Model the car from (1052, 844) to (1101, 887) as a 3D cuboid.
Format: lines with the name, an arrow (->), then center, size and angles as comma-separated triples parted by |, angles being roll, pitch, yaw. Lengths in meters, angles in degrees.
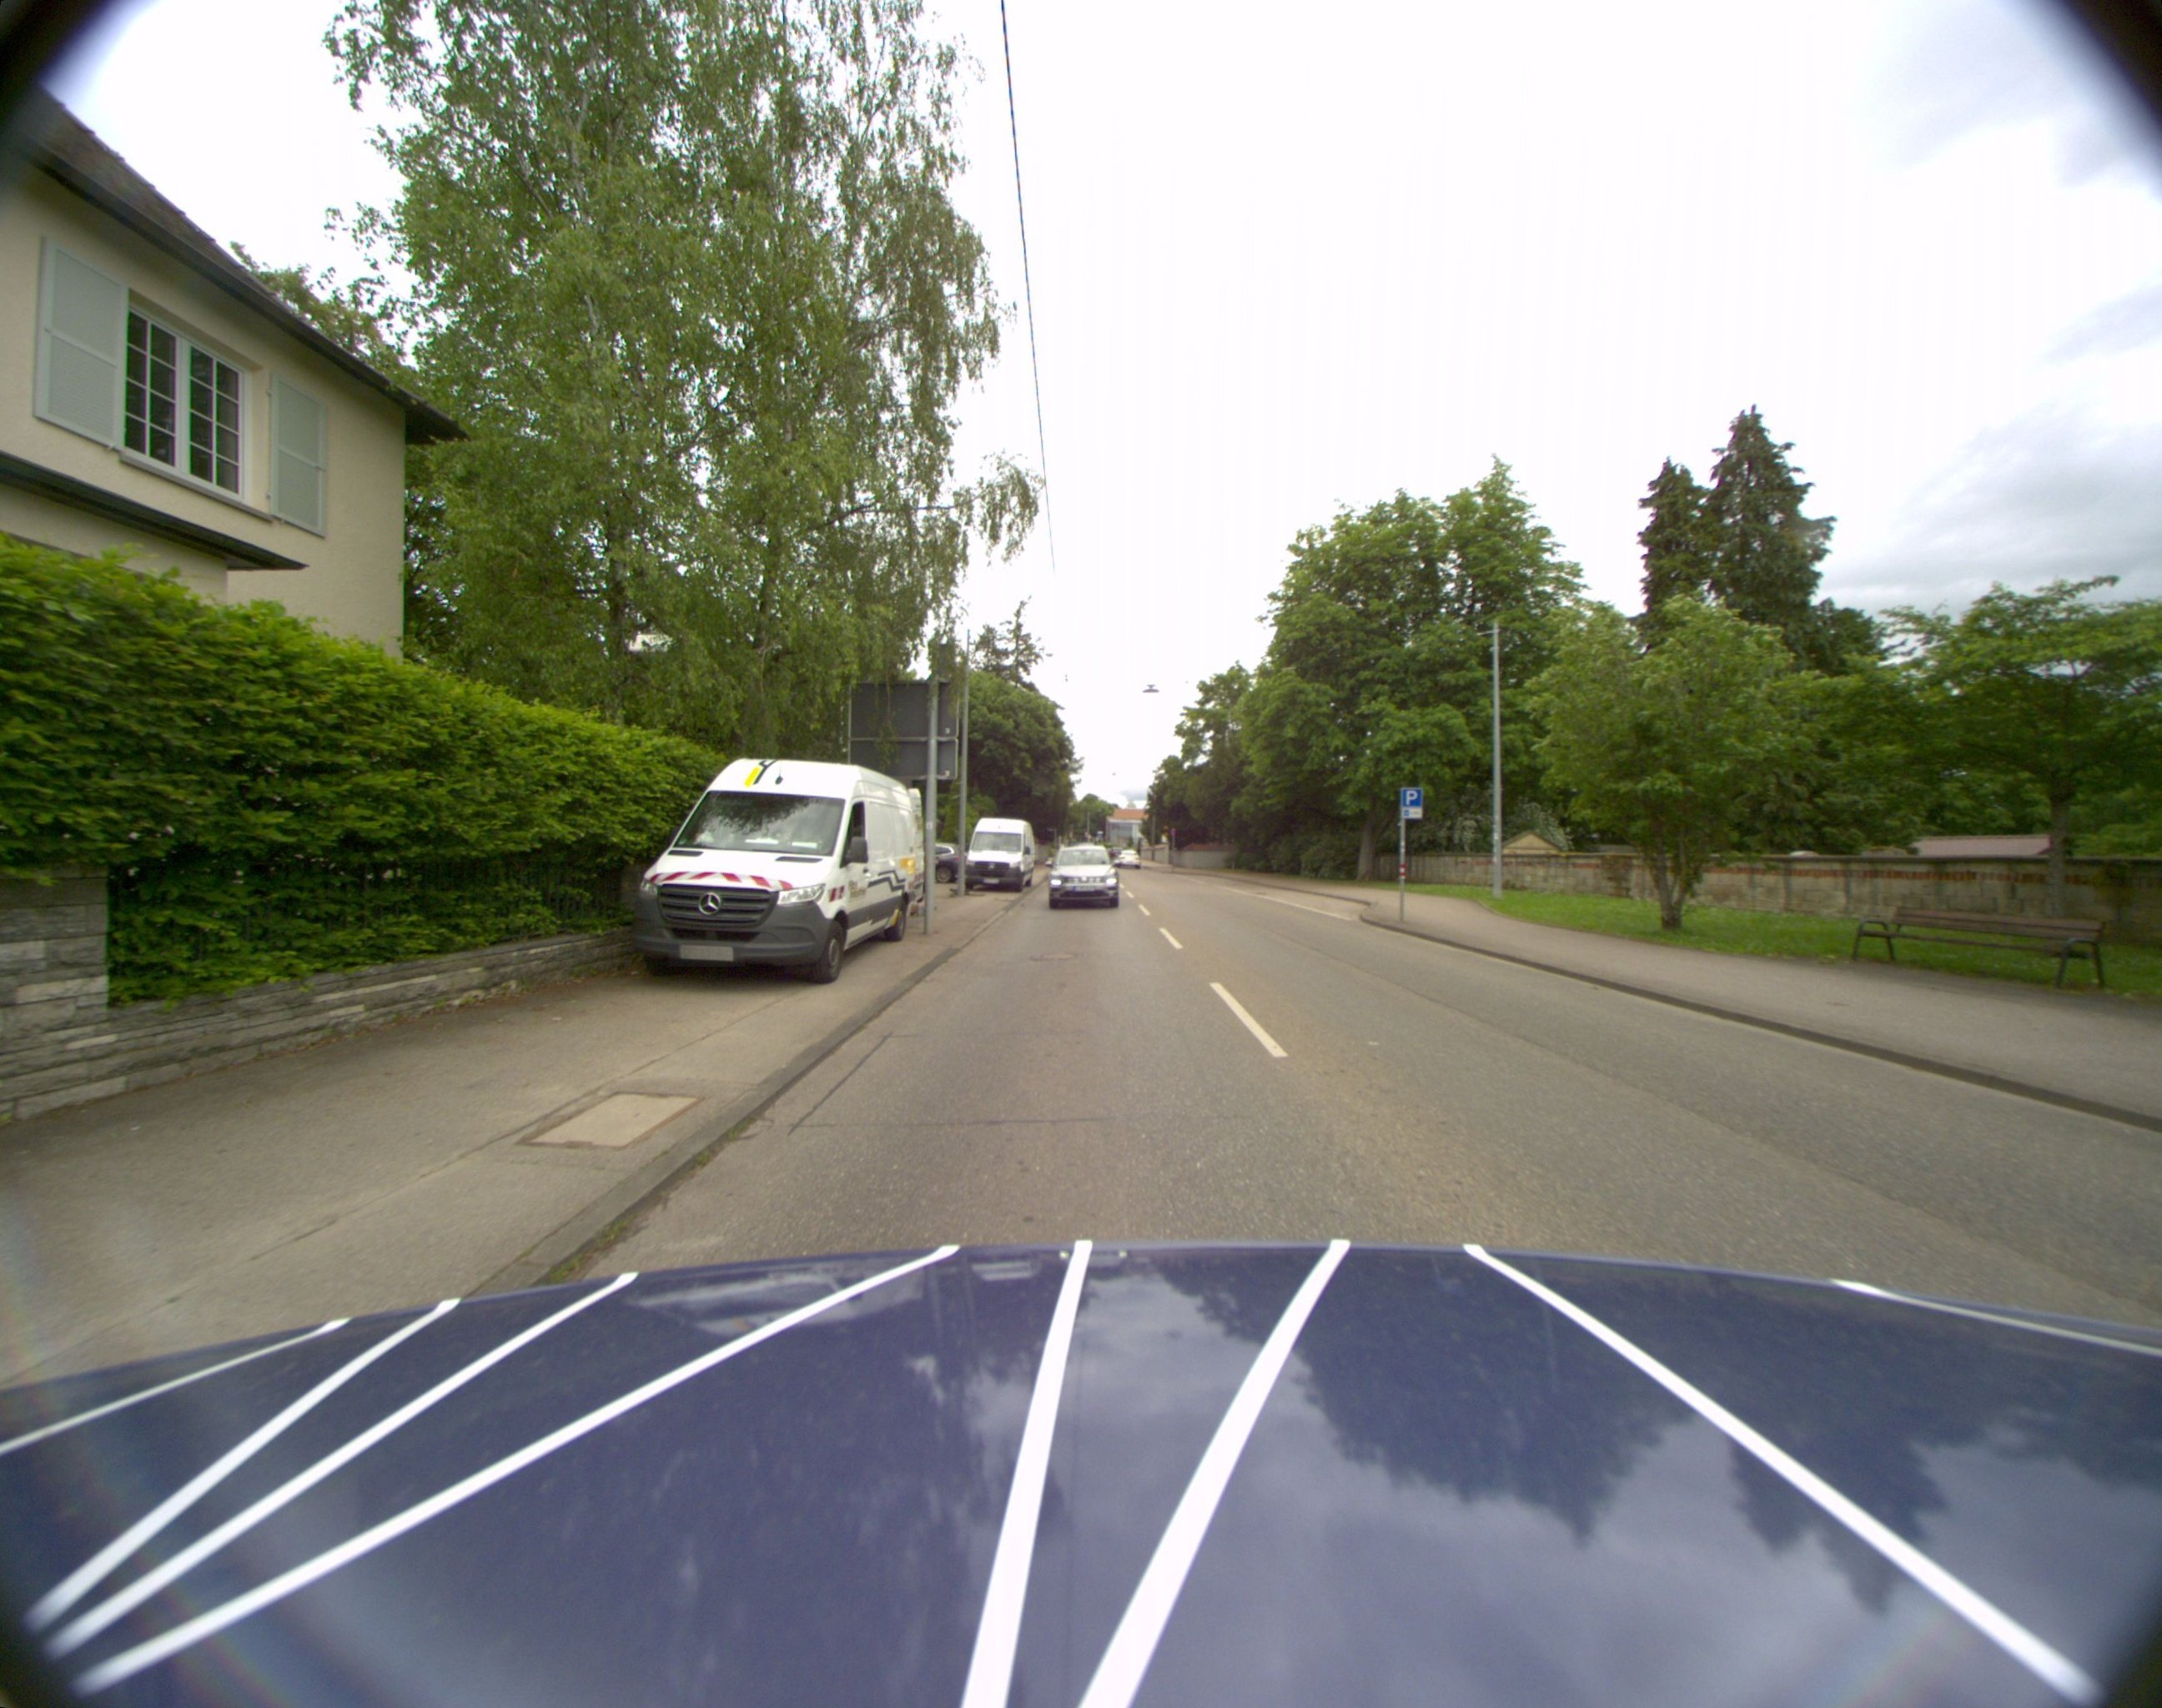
car -> -0.264, 0.425, 31.745 | 1.835, 1.610, 4.486 | -1, 1, -3

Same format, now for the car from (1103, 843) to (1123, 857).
car -> 3.627, -0.468, 87.569 | 1.913, 1.484, 3.998 | 4, 1, -2

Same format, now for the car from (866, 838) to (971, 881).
car -> -6.736, 0.218, 31.874 | 3.997, 1.718, 1.859 | 0, 1, 0

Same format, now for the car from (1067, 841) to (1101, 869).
car -> 0.134, 0.034, 47.074 | 1.835, 1.610, 4.486 | -1, 1, -3

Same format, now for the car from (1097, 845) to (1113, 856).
car -> 3.348, -0.508, 106.718 | 1.913, 1.484, 3.998 | 4, 1, -2

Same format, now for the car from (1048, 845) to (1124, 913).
car -> 0.036, 0.596, 21.106 | 1.835, 1.610, 4.486 | -1, 1, -3

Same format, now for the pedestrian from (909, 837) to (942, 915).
pedestrian -> -3.694, 0.509, 18.112 | 0.640, 1.820, 0.786 | 0, 1, -2

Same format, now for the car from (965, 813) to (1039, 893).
car -> -2.815, -0.079, 28.433 | 2.046, 2.588, 5.965 | 2, 1, 0

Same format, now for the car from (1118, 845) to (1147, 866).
car -> 4.110, 0.101, 61.226 | 1.913, 1.484, 3.998 | 4, 1, -2

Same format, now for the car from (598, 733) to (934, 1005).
car -> -3.714, 0.109, 10.738 | 2.095, 2.589, 6.679 | 2, 1, -2
